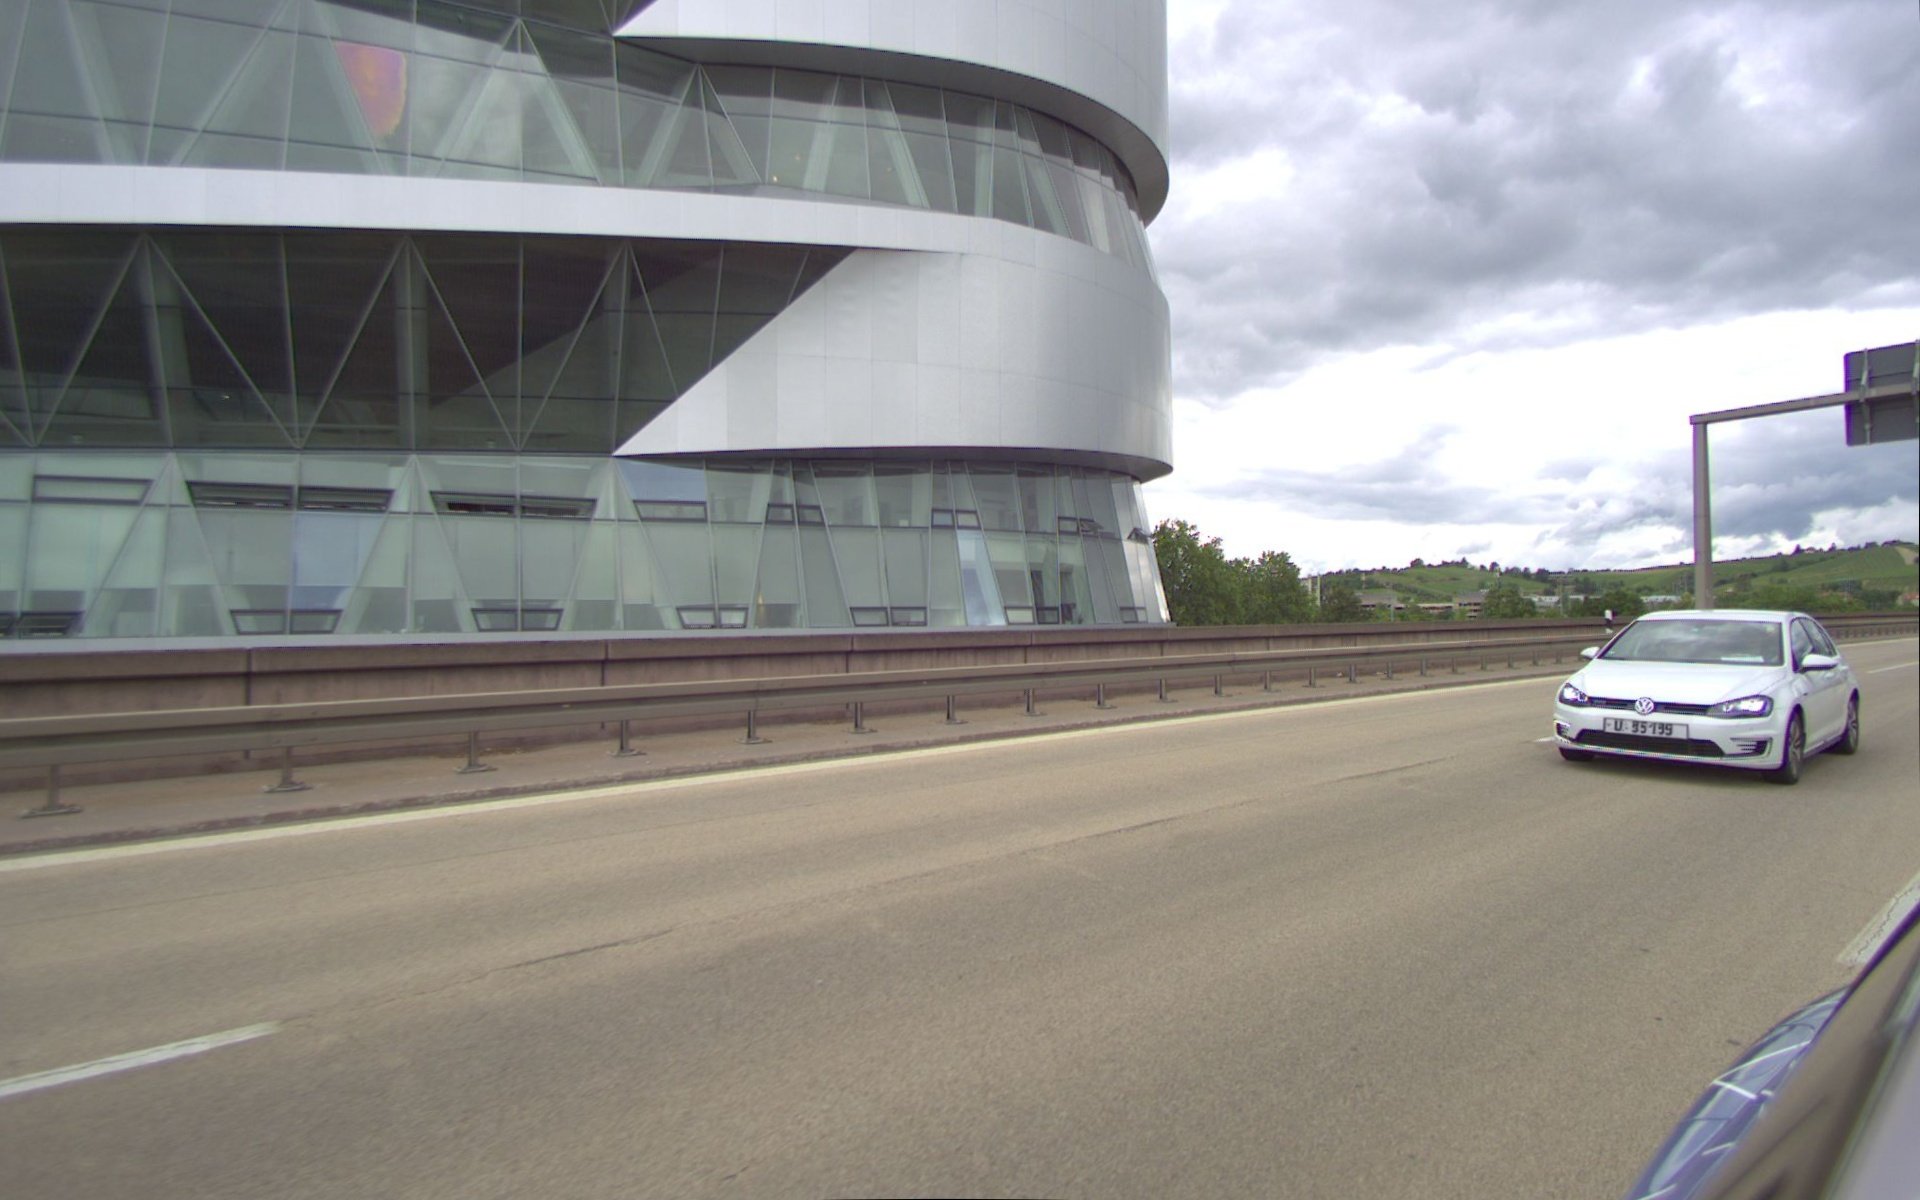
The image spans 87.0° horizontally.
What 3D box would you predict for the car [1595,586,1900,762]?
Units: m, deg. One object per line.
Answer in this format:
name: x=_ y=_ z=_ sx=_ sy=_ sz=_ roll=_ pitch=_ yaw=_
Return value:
car: x=8.615 y=0.627 z=10.955 sx=3.992 sy=1.527 sz=1.928 roll=-1 pitch=1 yaw=-42
